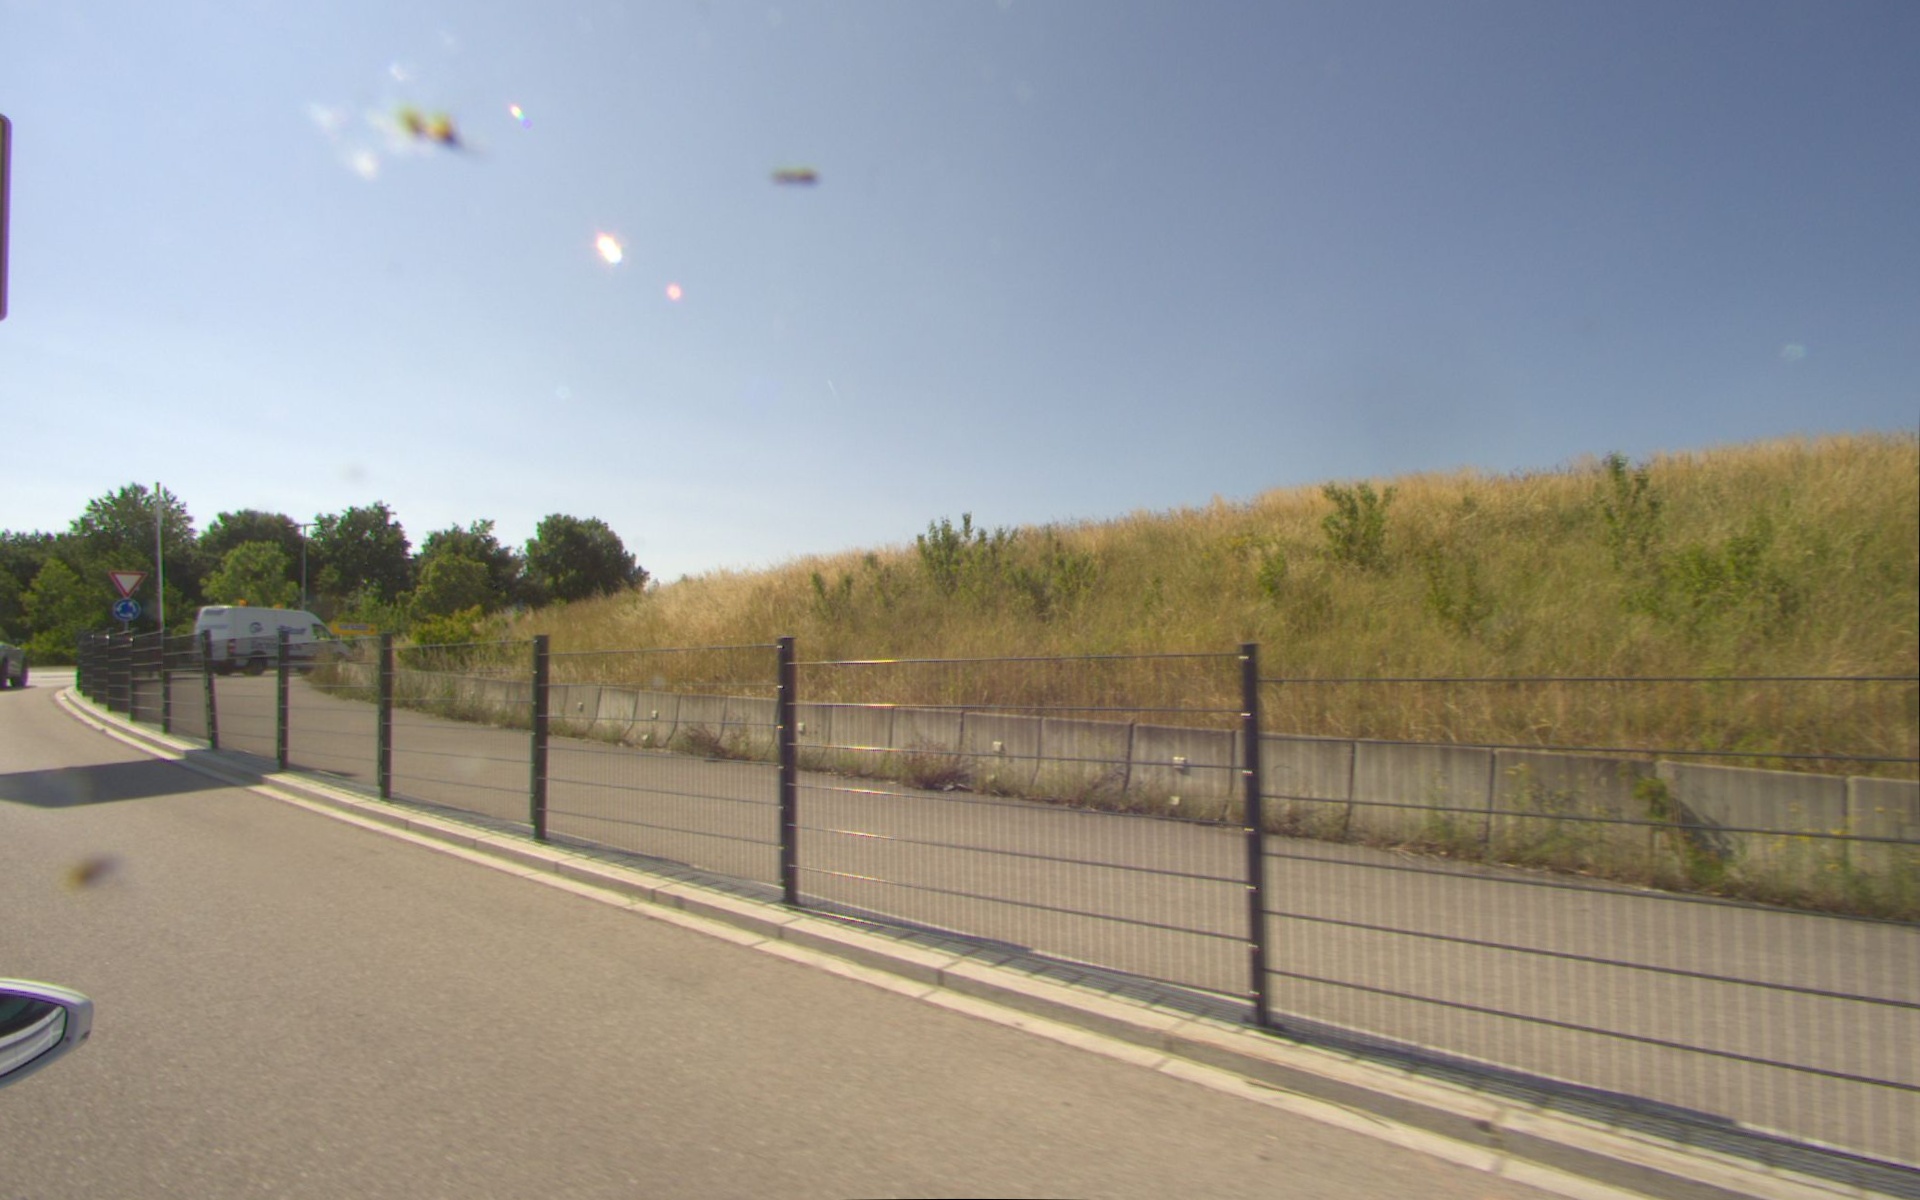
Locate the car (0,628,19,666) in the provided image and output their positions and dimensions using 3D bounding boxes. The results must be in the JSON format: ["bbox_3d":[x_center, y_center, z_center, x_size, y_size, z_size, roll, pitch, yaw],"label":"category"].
[{"bbox_3d":[-36.539,1.666,35.914,1.595,1.422,3.819,0,-3,9],"label":"car"}]

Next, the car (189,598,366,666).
[{"bbox_3d":[-27.859,1.418,41.260,2.051,2.585,6.193,0,-3,14],"label":"car"}]

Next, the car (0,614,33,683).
[{"bbox_3d":[-24.354,1.200,24.679,1.826,1.616,4.292,2,-3,-38],"label":"car"}]
